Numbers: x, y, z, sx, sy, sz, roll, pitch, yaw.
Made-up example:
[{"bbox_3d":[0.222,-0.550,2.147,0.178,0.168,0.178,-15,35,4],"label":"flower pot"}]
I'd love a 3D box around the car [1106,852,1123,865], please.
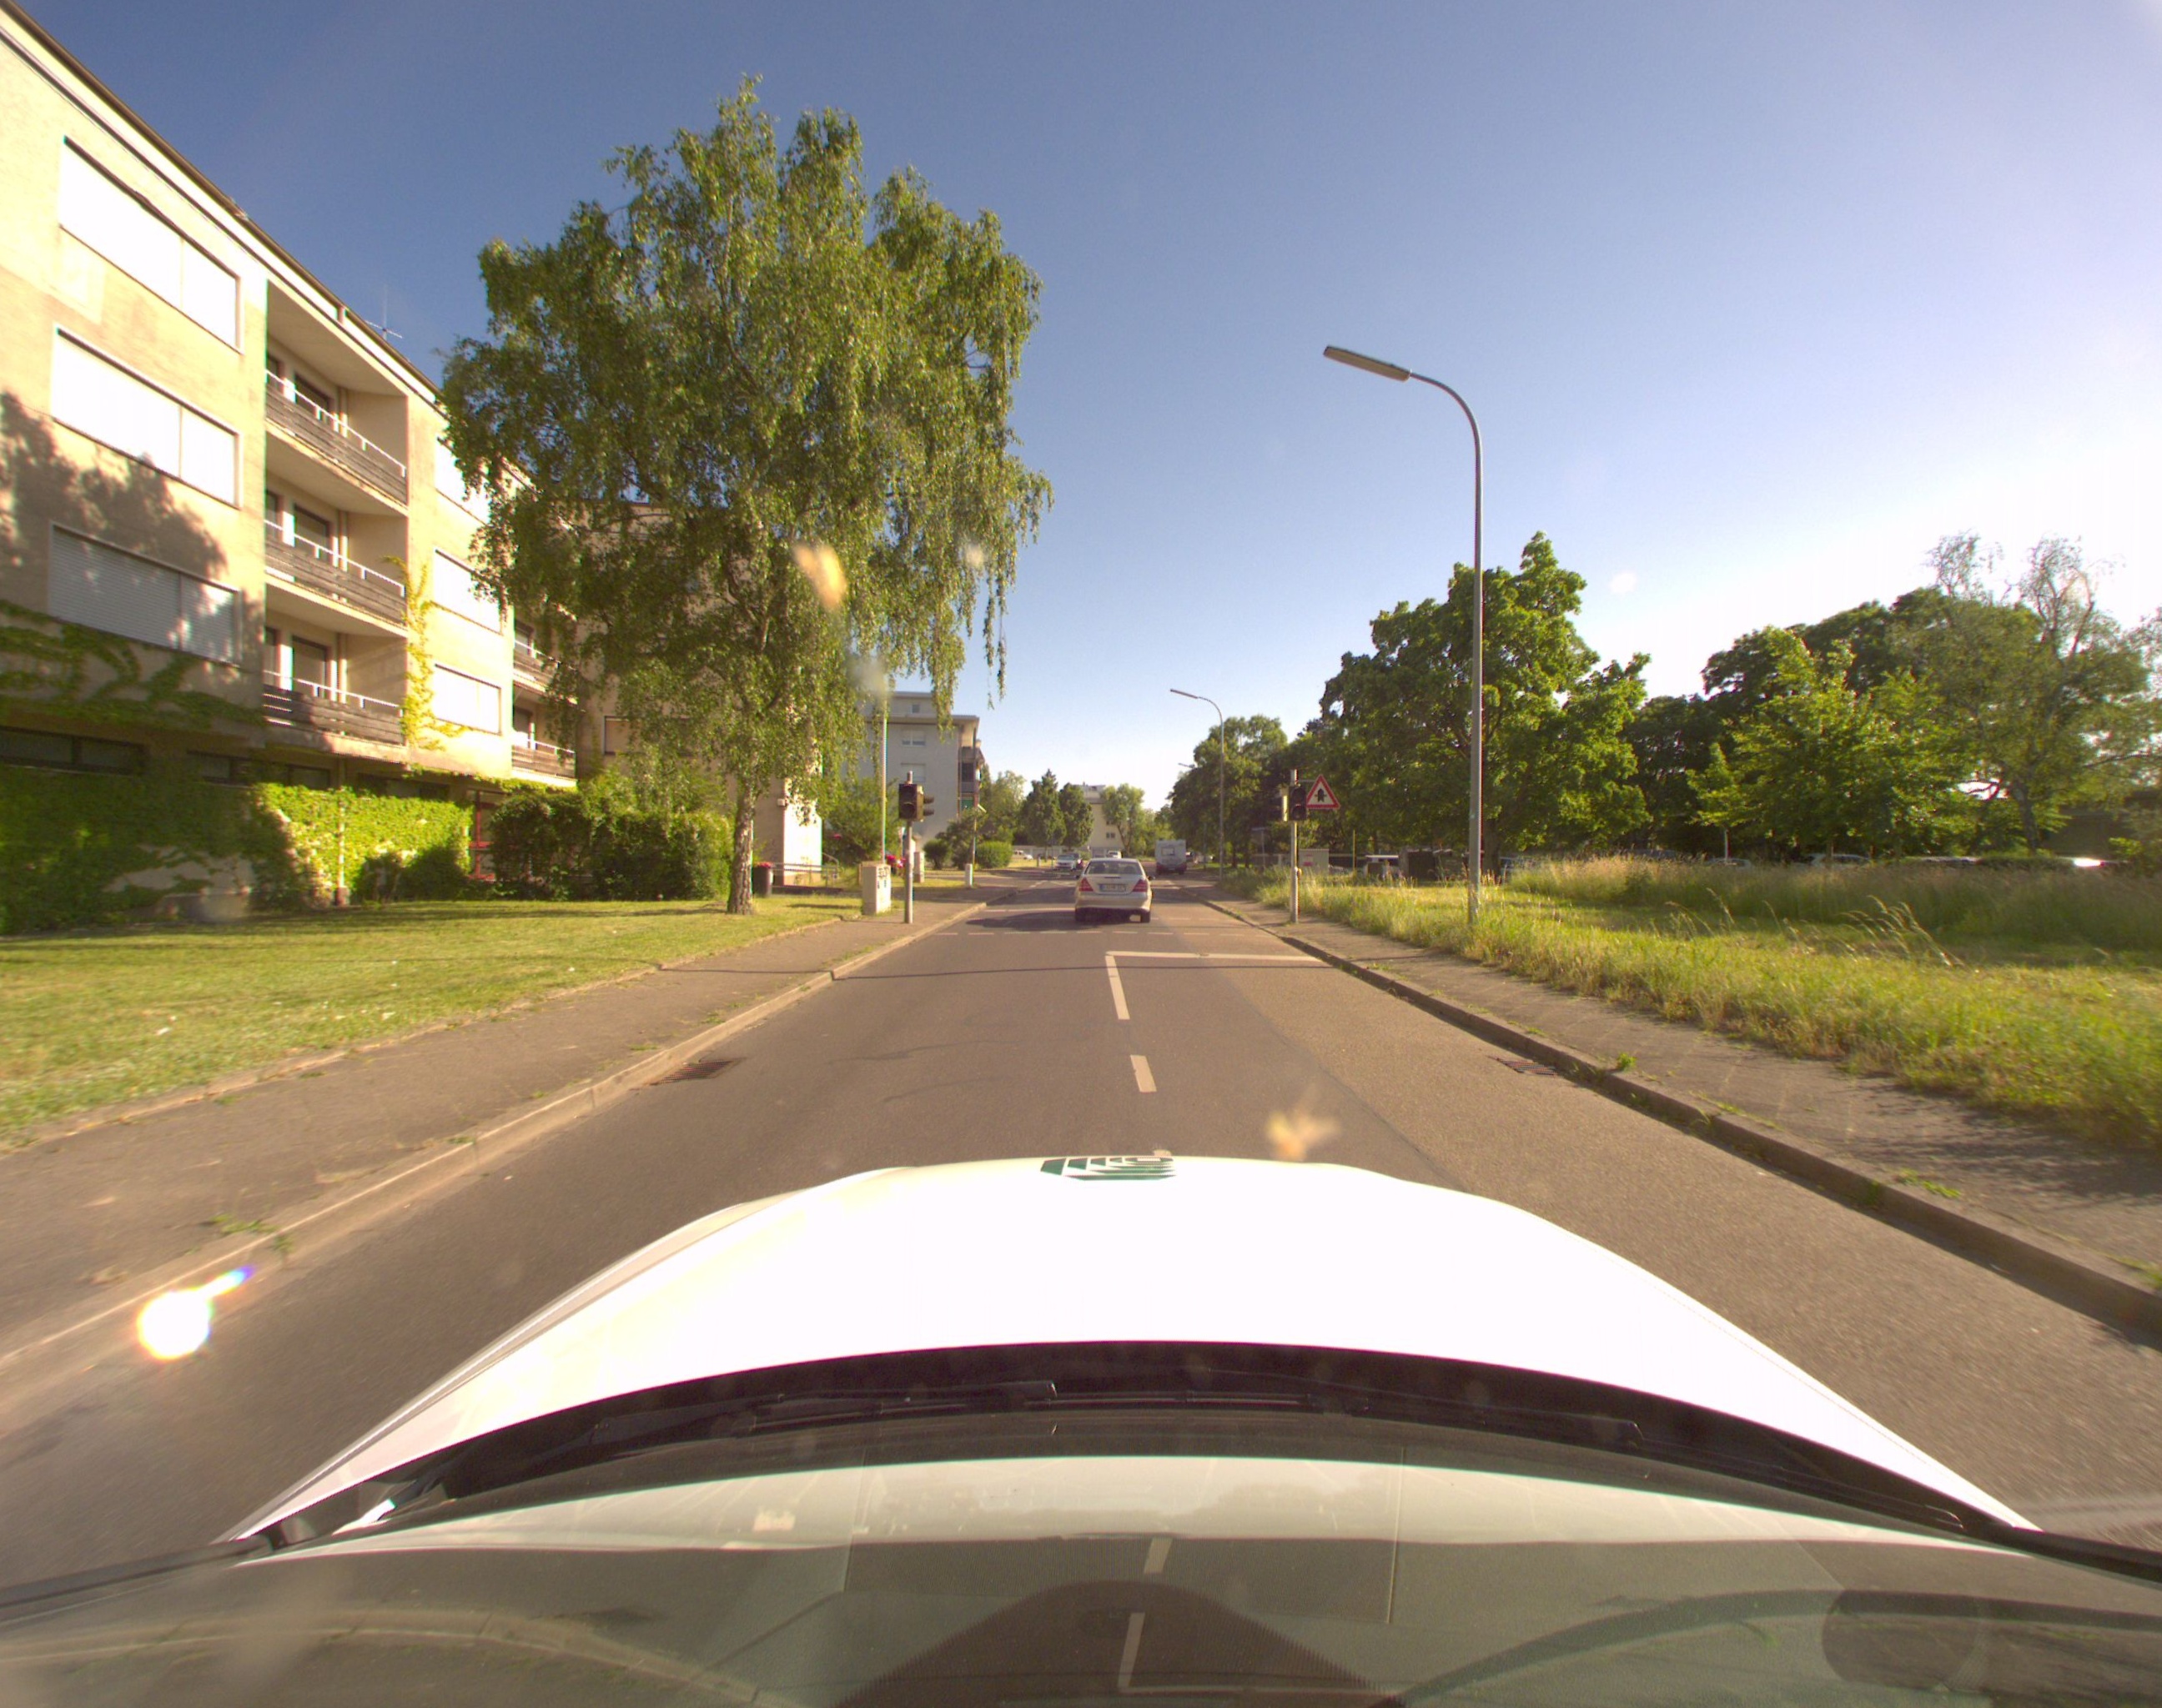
[{"bbox_3d":[5.203,0.672,126.702,2.003,1.885,5.203,2,0,9],"label":"car"}]

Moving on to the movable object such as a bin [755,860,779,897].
[{"bbox_3d":[-9.217,0.705,23.924,0.629,1.048,0.697,0,-1,-21],"label":"movable object such as a bin"}]

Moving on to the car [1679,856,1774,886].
[{"bbox_3d":[37.010,0.950,46.765,3.848,1.611,2.002,0,0,4],"label":"car"}]

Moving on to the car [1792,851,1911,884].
[{"bbox_3d":[42.717,0.717,45.249,4.426,1.807,2.006,0,0,10],"label":"car"}]

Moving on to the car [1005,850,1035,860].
[{"bbox_3d":[-11.295,0.189,151.270,5.068,1.951,2.246,0,0,15],"label":"car"}]

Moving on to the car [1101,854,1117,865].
[{"bbox_3d":[4.211,0.751,120.265,1.823,1.518,4.231,2,0,8],"label":"car"}]

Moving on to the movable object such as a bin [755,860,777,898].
[{"bbox_3d":[-9.013,0.708,23.317,0.565,1.053,0.553,0,-1,-20],"label":"movable object such as a bin"}]

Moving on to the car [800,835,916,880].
[{"bbox_3d":[-12.496,0.146,45.898,5.882,2.428,2.214,0,1,1],"label":"car"}]

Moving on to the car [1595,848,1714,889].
[{"bbox_3d":[29.393,0.701,41.877,4.476,2.012,2.280,0,0,10],"label":"car"}]

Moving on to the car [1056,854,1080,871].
[{"bbox_3d":[-1.134,0.727,72.605,1.638,1.466,4.337,1,0,5],"label":"car"}]

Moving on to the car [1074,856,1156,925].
[{"bbox_3d":[0.754,0.774,18.921,1.727,1.434,3.438,0,0,1],"label":"car"}]

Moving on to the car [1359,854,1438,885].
[{"bbox_3d":[17.000,0.826,43.746,3.662,1.578,1.833,0,0,9],"label":"car"}]

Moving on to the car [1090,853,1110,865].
[{"bbox_3d":[2.591,0.675,107.517,2.024,1.492,5.267,3,0,7],"label":"car"}]

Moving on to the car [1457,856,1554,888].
[{"bbox_3d":[22.221,0.935,42.774,4.079,1.541,1.978,1,1,8],"label":"car"}]

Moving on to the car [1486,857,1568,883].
[{"bbox_3d":[26.276,0.921,48.087,3.846,1.396,1.790,0,2,5],"label":"car"}]

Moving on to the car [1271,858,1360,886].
[{"bbox_3d":[12.640,0.935,44.182,4.402,1.337,1.749,1,1,6],"label":"car"}]

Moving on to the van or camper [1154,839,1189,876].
[{"bbox_3d":[6.932,0.263,63.101,2.341,2.596,6.433,-3,0,4],"label":"van or camper"}]

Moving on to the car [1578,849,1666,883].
[{"bbox_3d":[31.504,0.677,47.540,3.839,1.851,2.007,0,0,12],"label":"car"}]
